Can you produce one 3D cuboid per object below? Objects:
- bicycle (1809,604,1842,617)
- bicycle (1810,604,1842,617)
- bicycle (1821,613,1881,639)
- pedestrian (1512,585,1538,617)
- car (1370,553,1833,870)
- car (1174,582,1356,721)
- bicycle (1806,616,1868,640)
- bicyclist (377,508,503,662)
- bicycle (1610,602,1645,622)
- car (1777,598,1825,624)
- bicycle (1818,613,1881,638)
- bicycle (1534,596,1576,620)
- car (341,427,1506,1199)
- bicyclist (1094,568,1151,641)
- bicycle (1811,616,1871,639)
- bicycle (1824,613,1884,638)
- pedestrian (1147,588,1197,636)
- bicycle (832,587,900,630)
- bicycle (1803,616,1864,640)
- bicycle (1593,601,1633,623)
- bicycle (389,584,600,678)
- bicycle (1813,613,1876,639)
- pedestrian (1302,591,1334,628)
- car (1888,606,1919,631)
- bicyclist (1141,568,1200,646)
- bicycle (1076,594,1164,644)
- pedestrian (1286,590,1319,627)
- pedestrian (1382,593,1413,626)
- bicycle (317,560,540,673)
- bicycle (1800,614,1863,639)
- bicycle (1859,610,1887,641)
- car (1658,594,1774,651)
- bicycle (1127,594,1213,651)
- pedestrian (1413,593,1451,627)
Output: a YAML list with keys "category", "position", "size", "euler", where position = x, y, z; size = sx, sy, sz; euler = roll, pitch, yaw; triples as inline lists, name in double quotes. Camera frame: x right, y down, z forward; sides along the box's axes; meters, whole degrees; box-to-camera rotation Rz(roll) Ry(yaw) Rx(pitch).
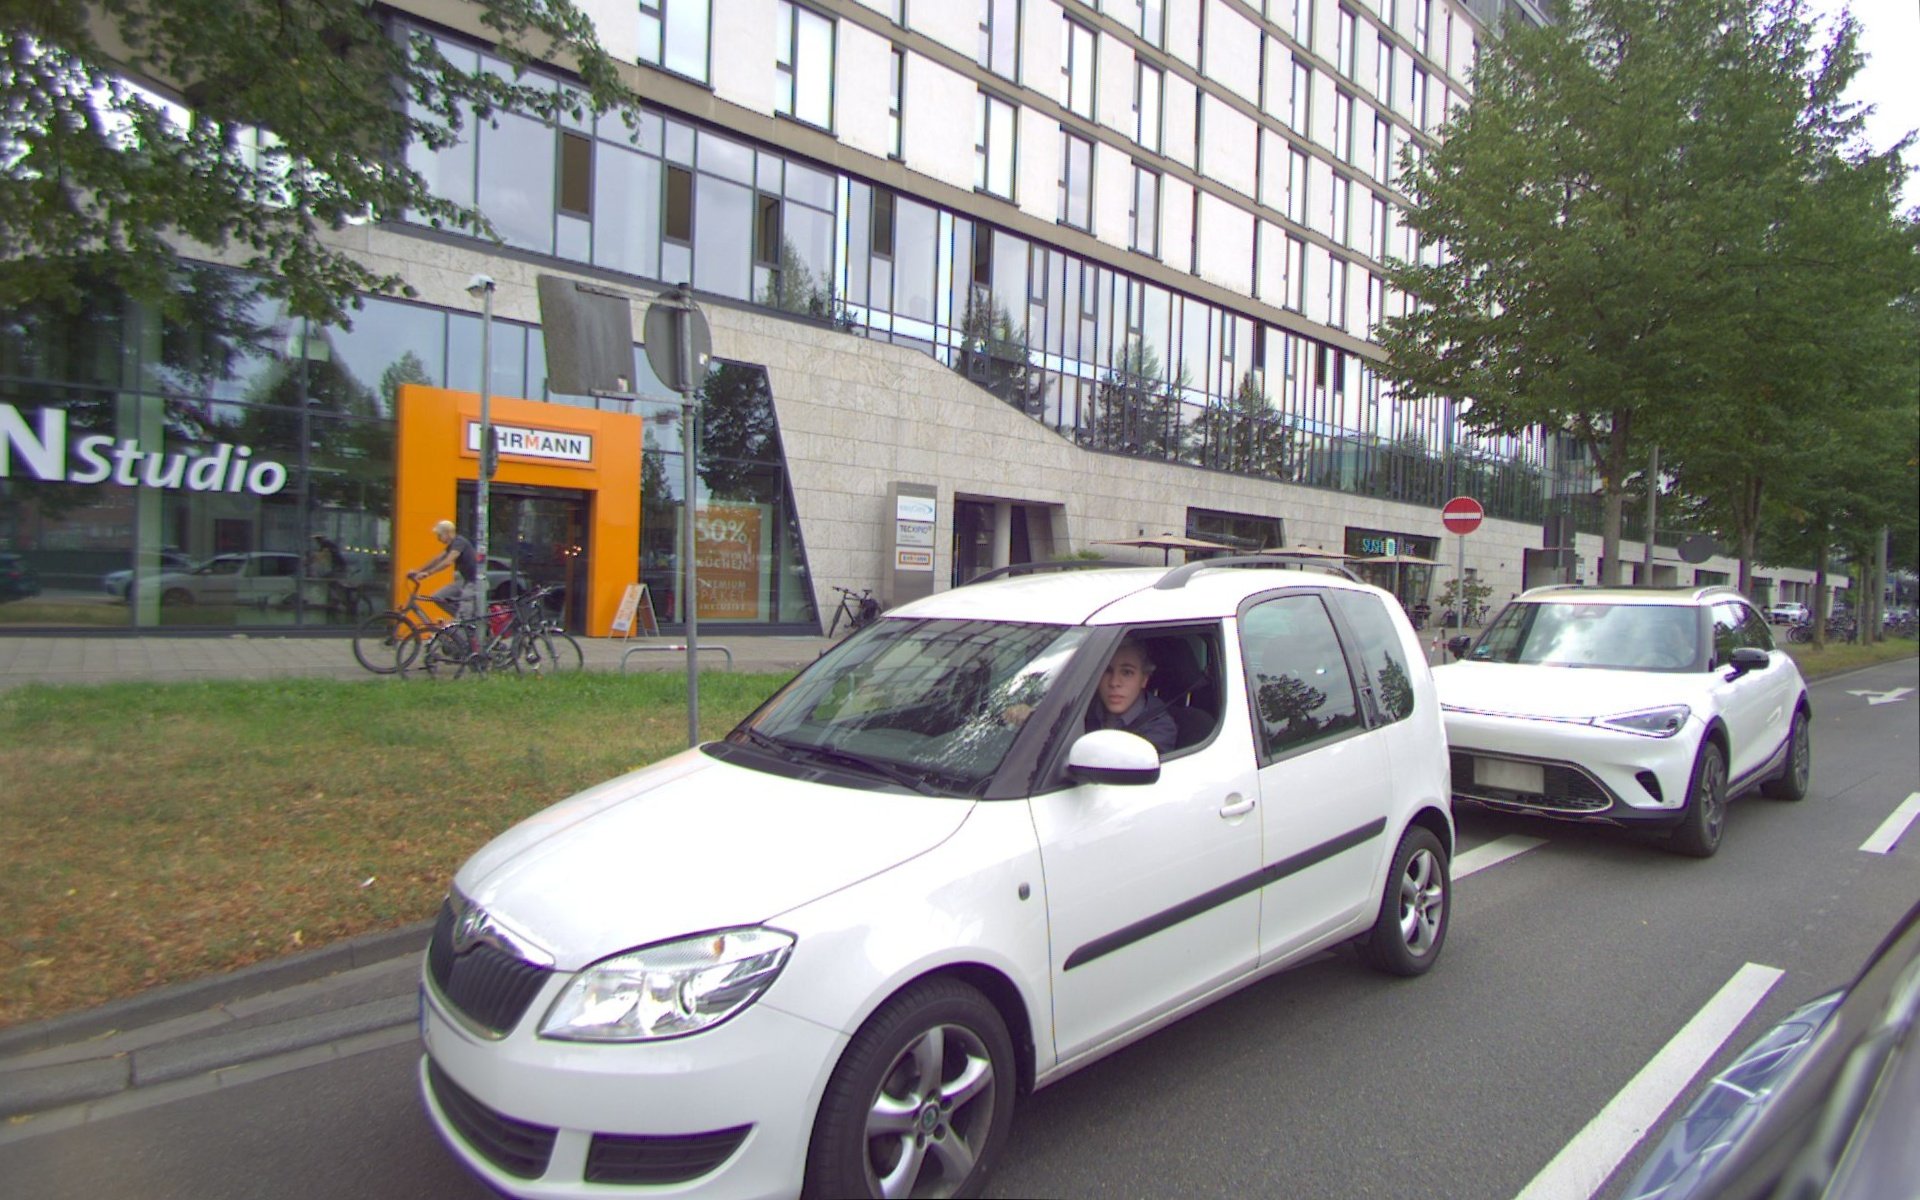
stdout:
- category: "bicycle"
  position: [83.896, 1.021, 98.097]
  size: [2.417, 1.191, 1.185]
  euler: [3, 1, 42]
- category: "bicycle"
  position: [83.125, 1.024, 97.145]
  size: [2.231, 1.191, 0.961]
  euler: [3, 1, 42]
- category: "bicycle"
  position: [38.646, 1.132, 43.915]
  size: [1.927, 1.079, 0.536]
  euler: [-2, -2, 41]
- category: "pedestrian"
  position: [25.508, 0.043, 45.688]
  size: [0.707, 1.424, 0.759]
  euler: [1, 1, -33]
- category: "car"
  position: [4.798, 0.606, 7.353]
  size: [3.952, 1.677, 1.782]
  euler: [1, -1, -41]
- category: "car"
  position: [4.011, 0.530, 13.798]
  size: [1.919, 1.494, 4.850]
  euler: [2, 1, 14]
- category: "bicycle"
  position: [36.442, 1.155, 42.073]
  size: [0.642, 0.963, 1.862]
  euler: [1, -2, -43]
- category: "bicyclist"
  position: [-6.358, -0.198, 12.363]
  size: [1.110, 1.758, 0.999]
  euler: [1, 4, -42]
- category: "bicycle"
  position: [36.384, 0.639, 55.176]
  size: [0.524, 1.039, 1.531]
  euler: [1, 1, -43]
- category: "car"
  position: [59.013, 0.749, 70.974]
  size: [4.165, 1.607, 1.862]
  euler: [1, 4, -41]
- category: "bicycle"
  position: [38.137, 1.100, 43.407]
  size: [0.631, 1.079, 1.931]
  euler: [1, -2, -43]
- category: "bicycle"
  position: [28.192, 0.384, 47.979]
  size: [1.585, 1.039, 0.606]
  euler: [3, 2, 23]
- category: "car"
  position: [0.215, 0.536, 3.664]
  size: [3.952, 1.677, 1.782]
  euler: [1, 1, -41]
- category: "bicyclist"
  position: [3.716, 0.094, 23.170]
  size: [0.970, 1.601, 0.728]
  euler: [1, 2, -29]
- category: "bicycle"
  position: [37.010, 1.154, 42.529]
  size: [0.602, 0.963, 1.862]
  euler: [1, -2, -43]
- category: "bicycle"
  position: [39.081, 1.133, 44.283]
  size: [1.927, 1.079, 0.536]
  euler: [-2, -2, 41]
- category: "pedestrian"
  position: [5.687, 0.312, 27.189]
  size: [0.932, 1.243, 0.900]
  euler: [1, 1, -36]
- category: "bicycle"
  position: [-2.089, 0.189, 22.510]
  size: [1.467, 0.921, 0.519]
  euler: [1, 1, -41]
- category: "bicycle"
  position: [35.884, 1.156, 41.593]
  size: [0.493, 0.963, 1.862]
  euler: [1, -2, -43]
- category: "bicycle"
  position: [33.878, 0.635, 52.510]
  size: [0.524, 1.039, 1.599]
  euler: [1, 2, -43]
- category: "bicycle"
  position: [-5.225, 0.324, 11.473]
  size: [0.630, 0.968, 2.074]
  euler: [2, 1, 44]
- category: "bicycle"
  position: [37.528, 1.101, 42.970]
  size: [0.693, 1.079, 1.931]
  euler: [1, -2, -43]
- category: "pedestrian"
  position: [12.117, 0.331, 34.284]
  size: [0.745, 1.207, 0.720]
  euler: [1, 1, -39]
- category: "car"
  position: [57.054, 1.108, 60.585]
  size: [4.109, 1.439, 1.763]
  euler: [1, 1, -41]
- category: "bicyclist"
  position: [4.533, 0.138, 21.834]
  size: [0.971, 1.601, 0.727]
  euler: [1, 3, -37]
- category: "bicycle"
  position: [3.665, 0.437, 23.158]
  size: [1.967, 1.054, 0.676]
  euler: [2, 3, -31]
- category: "pedestrian"
  position: [11.391, 0.280, 33.658]
  size: [0.745, 1.207, 0.720]
  euler: [1, 1, -41]
- category: "pedestrian"
  position: [16.325, 0.354, 37.754]
  size: [0.743, 1.207, 0.723]
  euler: [1, 1, -19]
- category: "bicycle"
  position: [-6.422, 0.183, 12.312]
  size: [2.229, 1.250, 0.903]
  euler: [1, 1, -42]
- category: "bicycle"
  position: [35.409, 1.084, 41.142]
  size: [0.564, 1.008, 1.862]
  euler: [1, -2, -43]
- category: "bicycle"
  position: [34.404, 0.961, 38.151]
  size: [0.709, 1.130, 2.170]
  euler: [-2, -2, 41]
- category: "car"
  position: [23.079, 0.656, 30.828]
  size: [4.514, 1.571, 1.941]
  euler: [1, 1, -42]
- category: "bicycle"
  position: [4.535, 0.482, 21.830]
  size: [1.970, 1.157, 0.675]
  euler: [1, 1, -38]
- category: "pedestrian"
  position: [17.828, 0.379, 38.235]
  size: [1.083, 1.207, 0.776]
  euler: [1, 1, -26]
